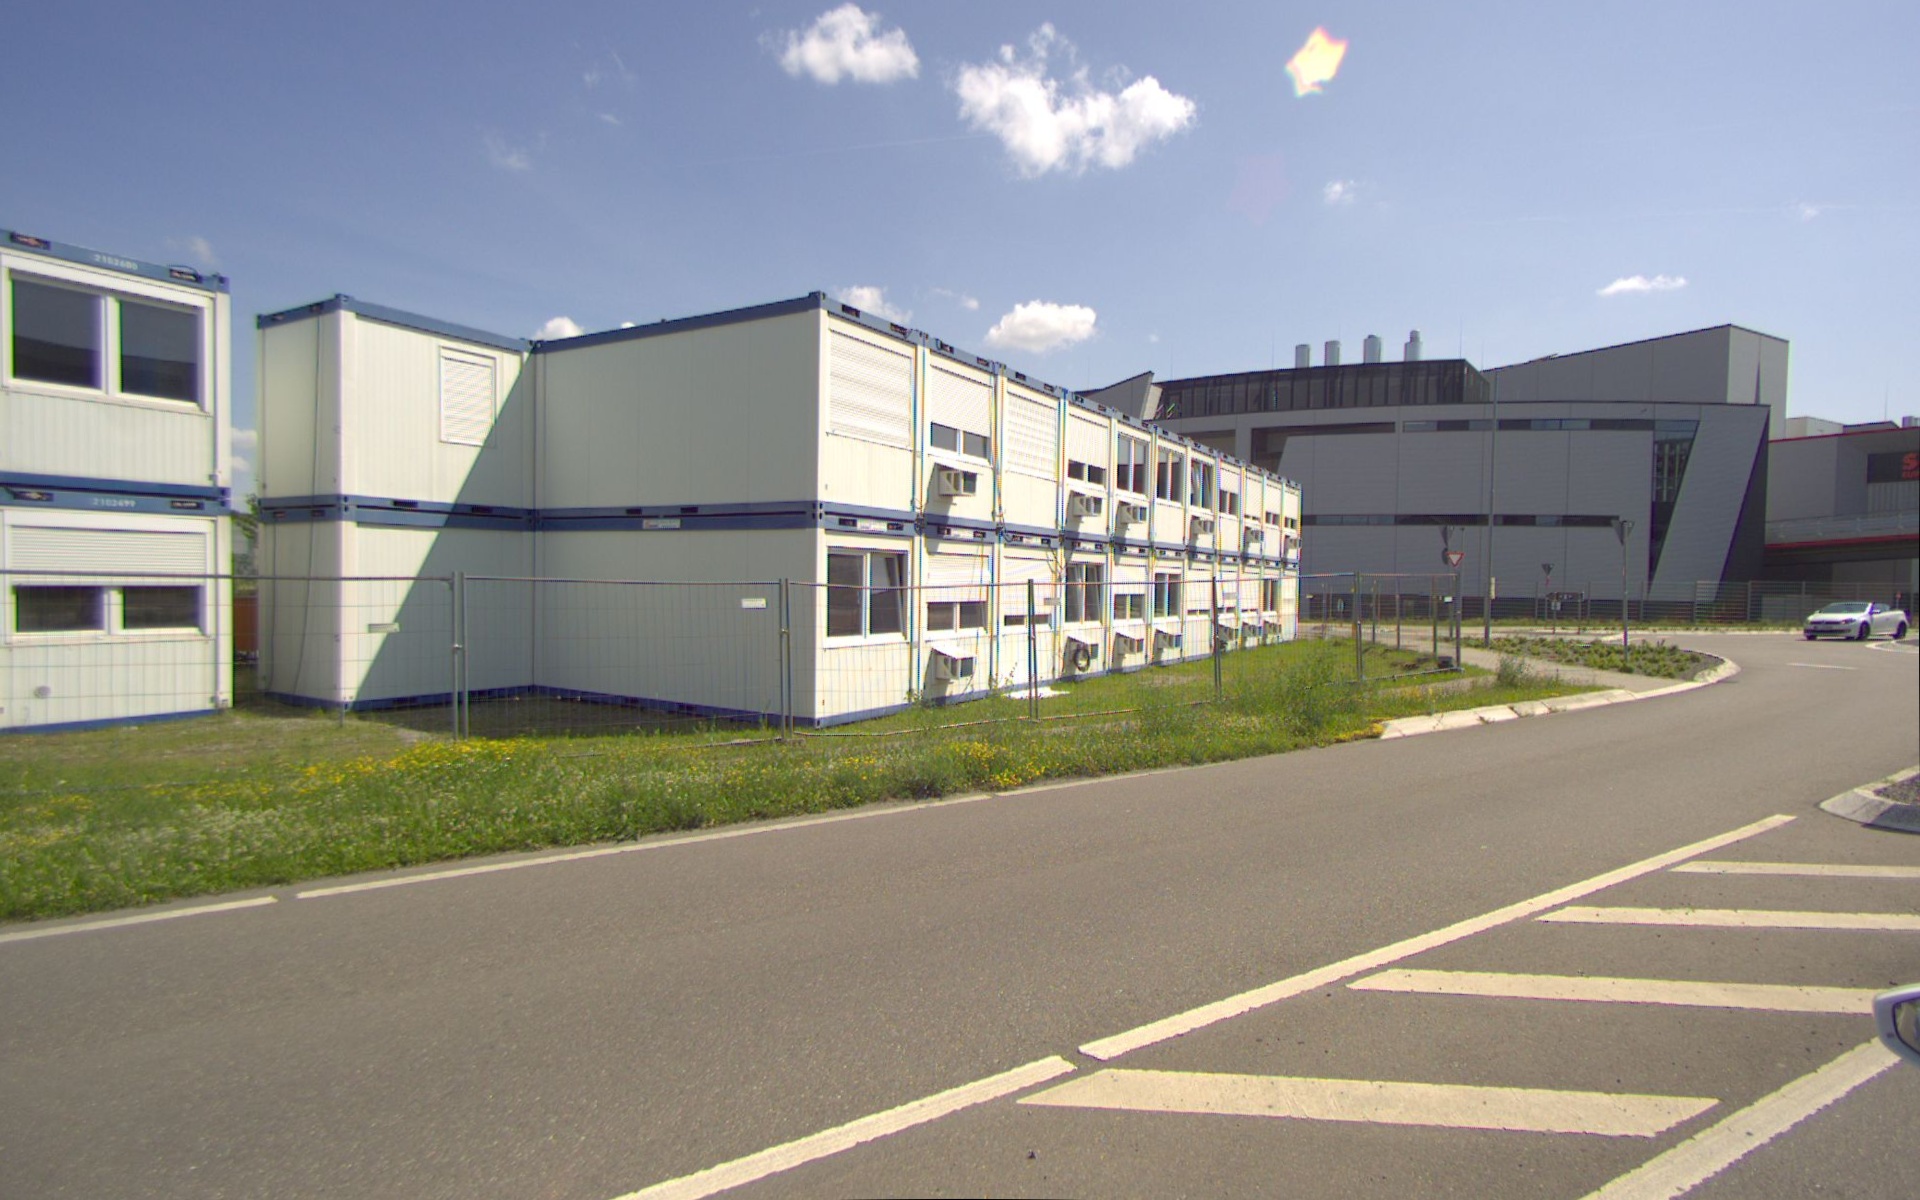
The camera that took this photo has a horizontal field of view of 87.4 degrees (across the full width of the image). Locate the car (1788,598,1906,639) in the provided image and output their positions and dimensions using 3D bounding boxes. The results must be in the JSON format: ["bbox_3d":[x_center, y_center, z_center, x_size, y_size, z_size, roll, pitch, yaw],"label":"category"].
[{"bbox_3d":[32.703,0.691,37.026,3.995,1.447,1.765,1,0,-24],"label":"car"}]
